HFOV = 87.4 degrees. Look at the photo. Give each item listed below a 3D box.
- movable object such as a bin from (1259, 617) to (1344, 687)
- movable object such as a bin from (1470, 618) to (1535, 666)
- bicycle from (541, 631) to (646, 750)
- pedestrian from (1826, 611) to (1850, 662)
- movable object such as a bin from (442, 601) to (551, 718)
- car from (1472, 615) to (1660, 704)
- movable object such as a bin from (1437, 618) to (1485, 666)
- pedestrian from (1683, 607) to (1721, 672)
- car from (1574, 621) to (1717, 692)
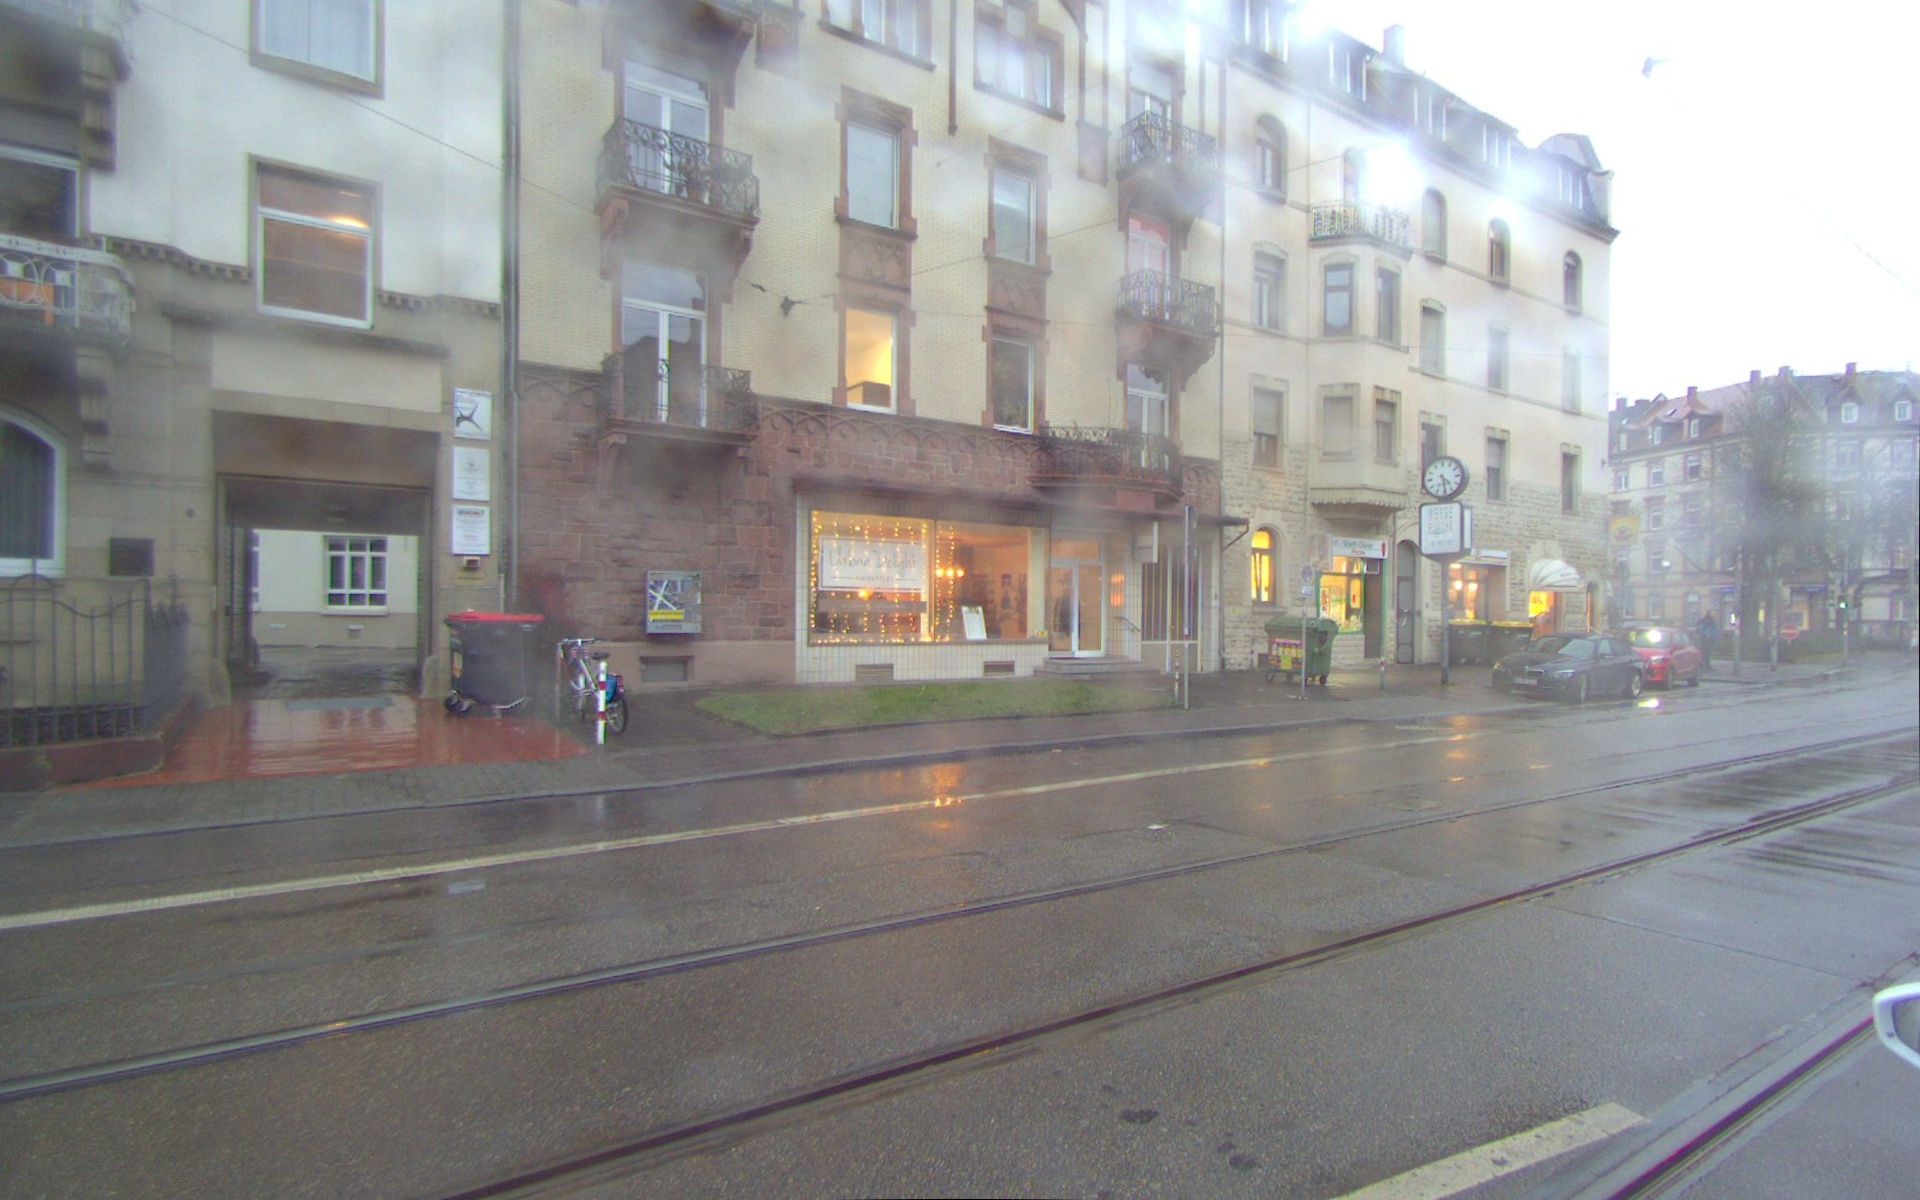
[{"bbox_3d":[7.438,1.109,21.887,1.236,1.439,1.260,1,0,-33],"label":"movable object such as a bin"},{"bbox_3d":[16.332,1.261,30.255,1.239,1.385,1.286,1,0,-34],"label":"movable object such as a bin"},{"bbox_3d":[-4.334,0.986,11.752,0.687,1.120,2.336,1,1,-32],"label":"bicycle"},{"bbox_3d":[35.489,1.454,40.601,0.695,2.040,0.658,0,0,37],"label":"pedestrian"},{"bbox_3d":[-6.079,0.747,13.142,1.155,1.398,1.096,1,2,-32],"label":"movable object such as a bin"},{"bbox_3d":[13.874,1.307,22.902,4.587,1.667,1.972,2,3,-37],"label":"car"},{"bbox_3d":[14.931,1.245,29.924,0.996,1.396,0.893,1,0,-33],"label":"movable object such as a bin"},{"bbox_3d":[23.786,1.247,32.194,0.635,2.040,0.758,1,0,3],"label":"pedestrian"},{"bbox_3d":[18.307,1.432,26.781,3.997,1.573,2.021,0,3,-39],"label":"car"}]
